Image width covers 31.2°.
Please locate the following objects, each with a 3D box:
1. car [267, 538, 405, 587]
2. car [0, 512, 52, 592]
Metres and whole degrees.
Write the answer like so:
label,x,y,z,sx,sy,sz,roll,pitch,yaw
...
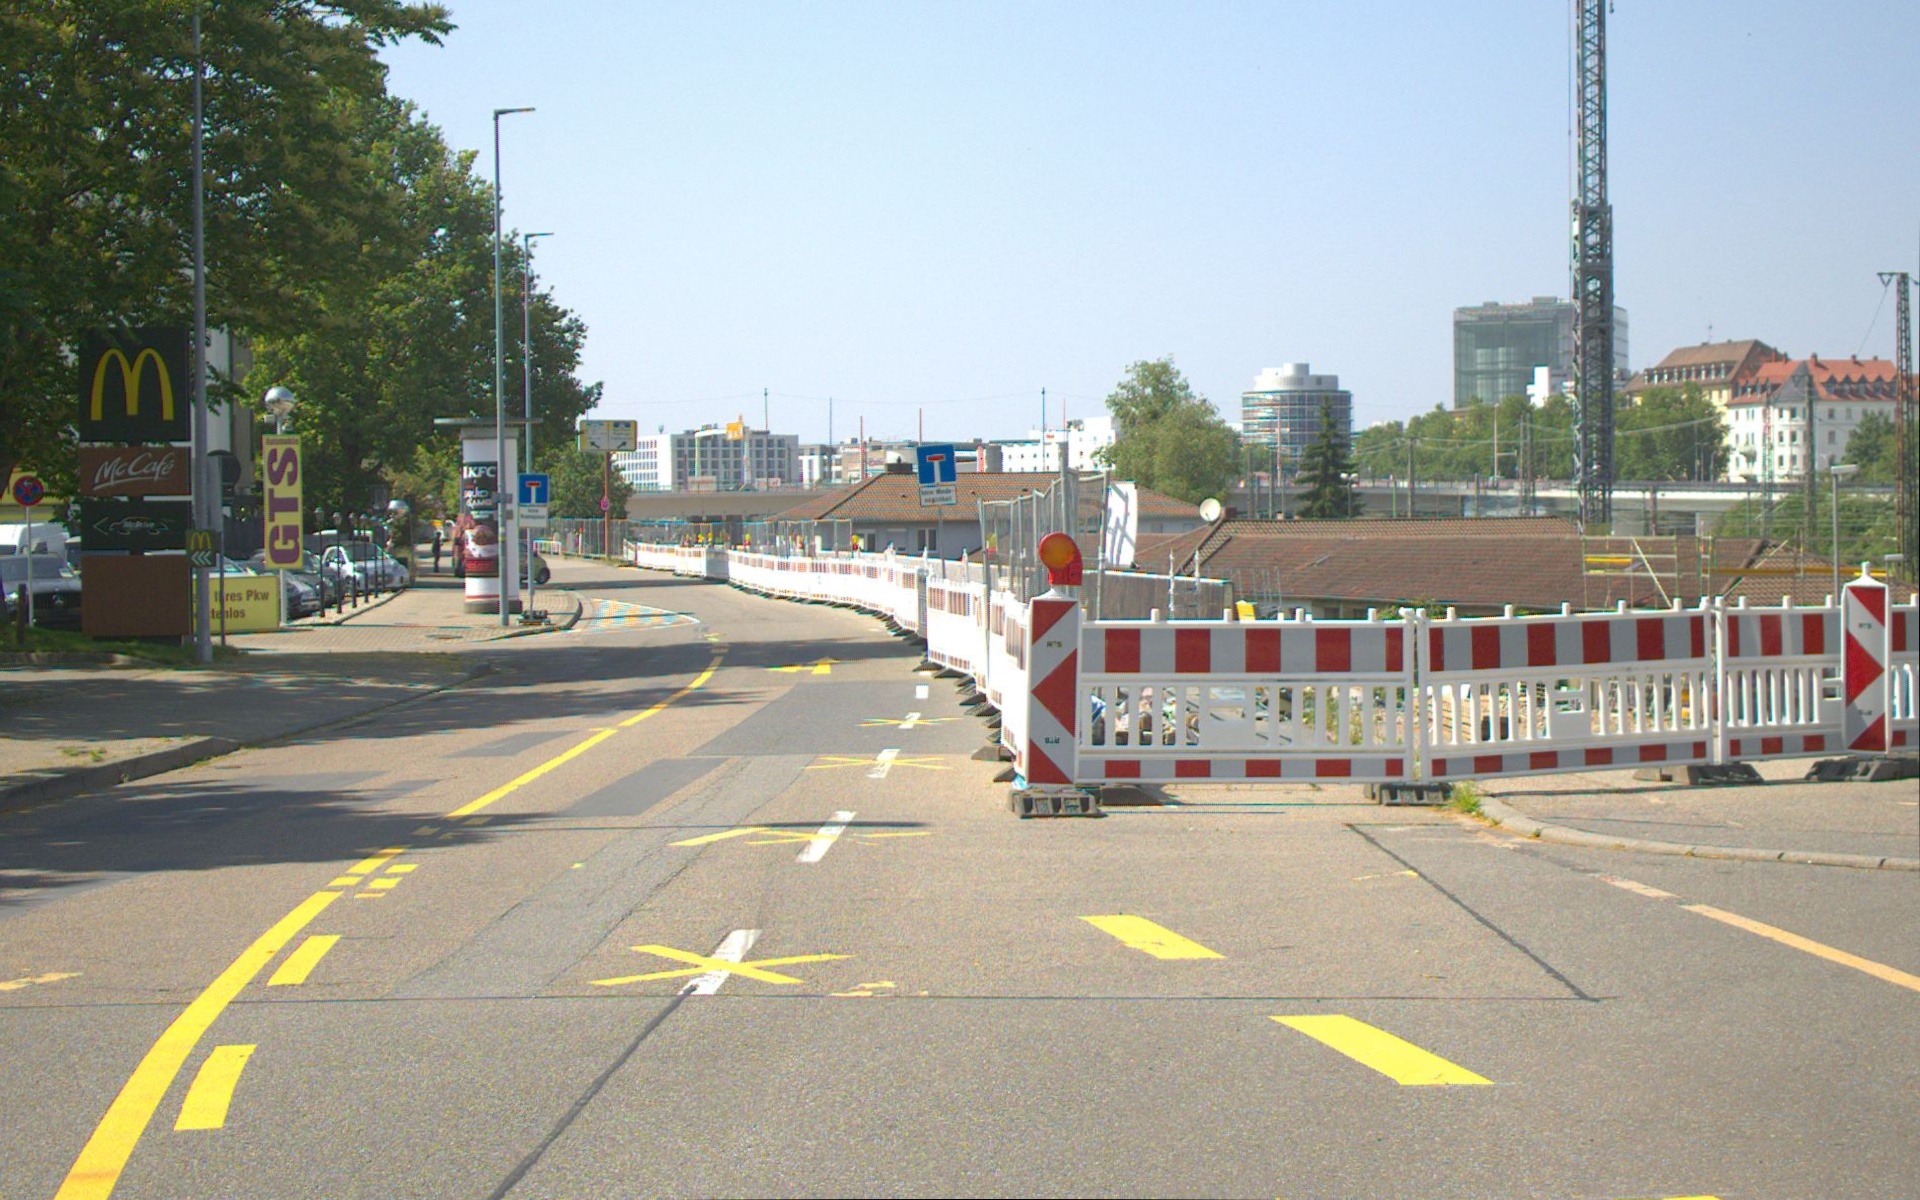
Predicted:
label,x,y,z,sx,sy,sz,roll,pitch,yaw
car,-18.379,-1.103,101.282,3.678,1.416,1.571,0,1,17
car,-23.704,-1.167,83.579,1.994,1.897,4.000,-1,1,-33
